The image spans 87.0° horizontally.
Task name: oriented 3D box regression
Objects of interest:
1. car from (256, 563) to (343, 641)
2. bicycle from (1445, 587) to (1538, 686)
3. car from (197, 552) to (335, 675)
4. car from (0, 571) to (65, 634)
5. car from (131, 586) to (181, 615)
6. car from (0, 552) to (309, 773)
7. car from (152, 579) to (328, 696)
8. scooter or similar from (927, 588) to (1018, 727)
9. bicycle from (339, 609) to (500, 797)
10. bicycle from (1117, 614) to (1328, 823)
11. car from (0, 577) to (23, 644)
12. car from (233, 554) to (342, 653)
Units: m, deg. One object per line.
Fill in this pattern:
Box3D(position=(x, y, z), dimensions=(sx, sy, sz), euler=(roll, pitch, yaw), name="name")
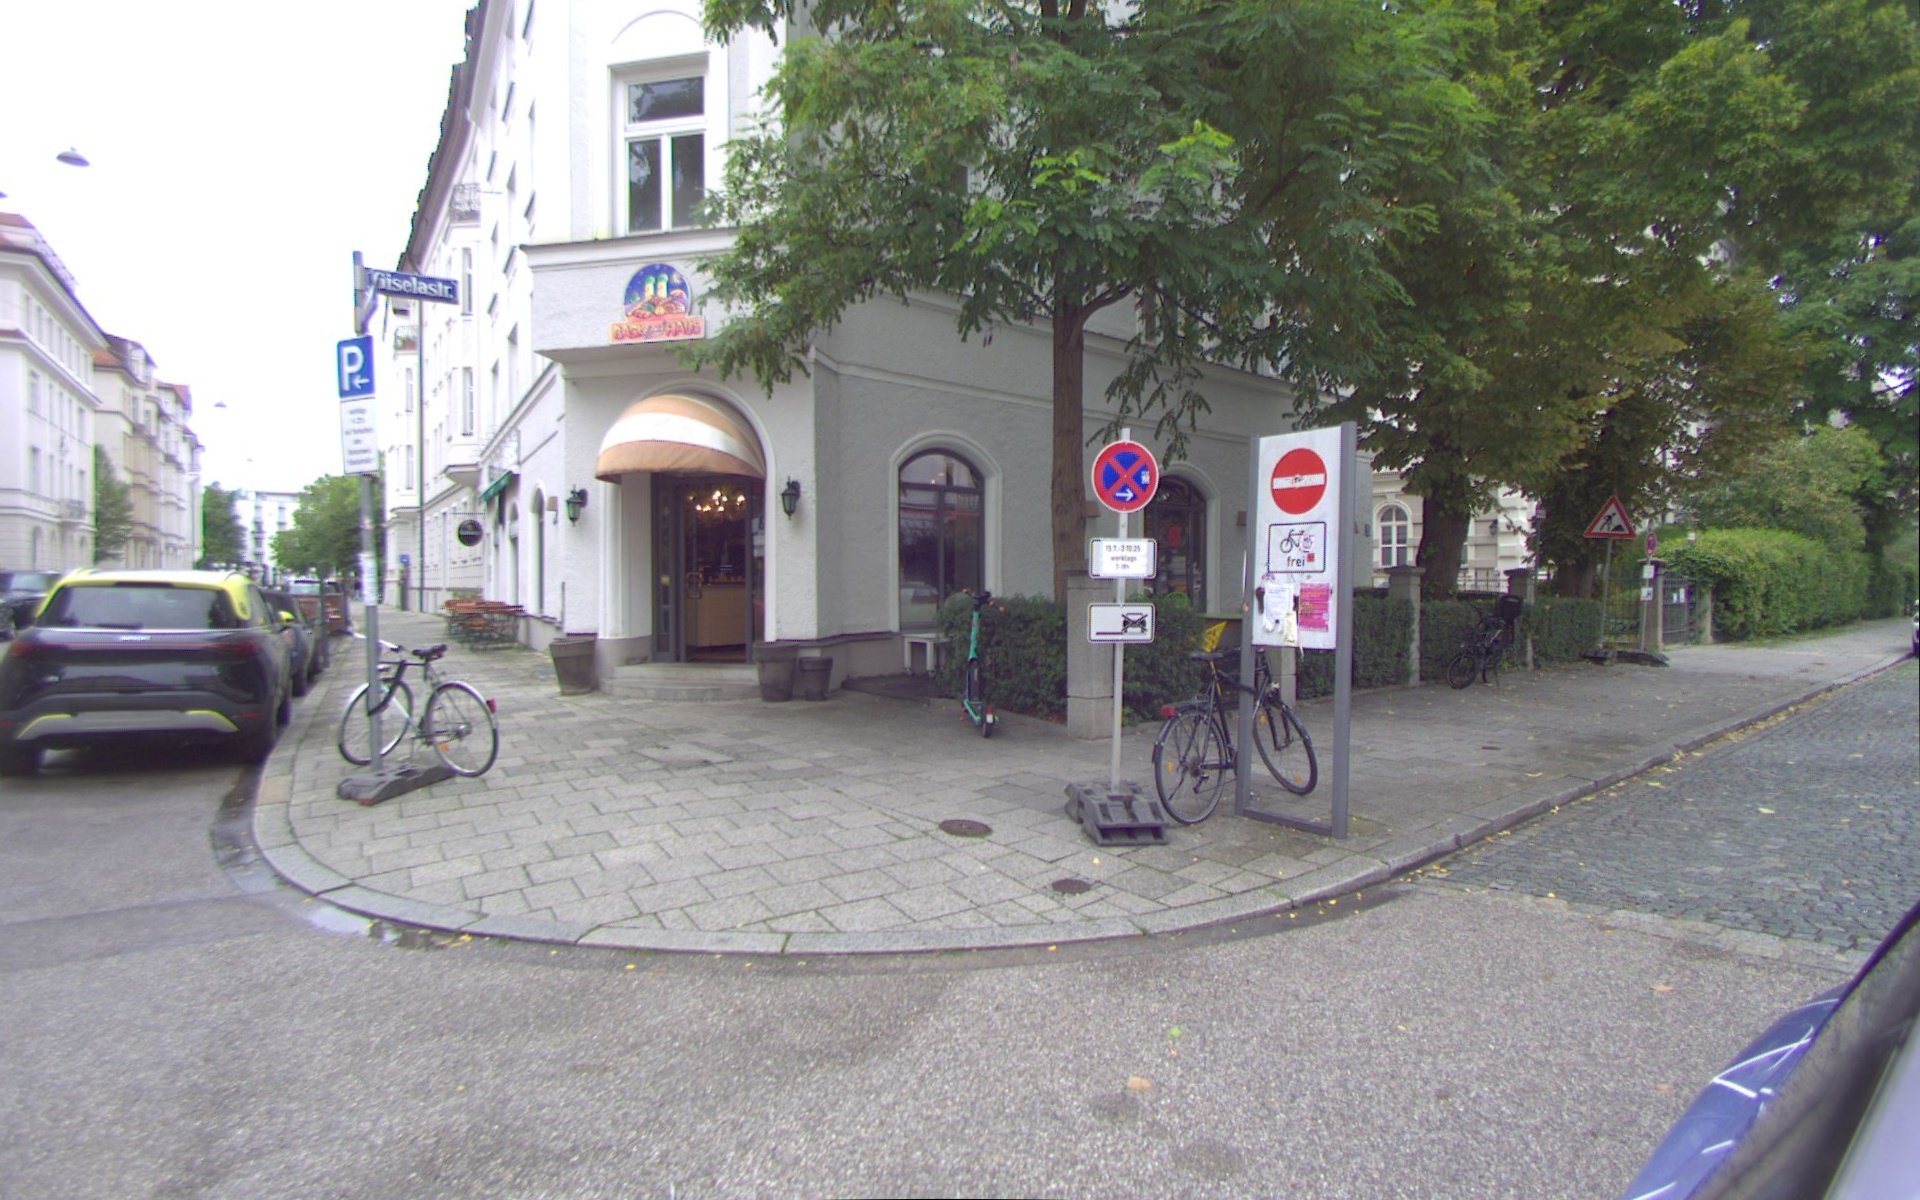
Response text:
Box3D(position=(-16.730, 0.004, 25.786), dimensions=(1.708, 1.835, 4.003), euler=(-1, 1, -31), name="car")
Box3D(position=(7.170, 0.461, 13.627), dimensions=(1.700, 1.212, 0.429), euler=(-1, 6, -41), name="bicycle")
Box3D(position=(-12.603, 0.183, 18.592), dimensions=(1.739, 1.994, 3.936), euler=(-1, 1, -30), name="car")
Box3D(position=(-27.328, 0.051, 29.003), dimensions=(1.796, 1.691, 4.061), euler=(-1, 1, -31), name="car")
Box3D(position=(-44.851, -0.028, 56.505), dimensions=(1.962, 1.528, 4.000), euler=(-1, 1, -35), name="car")
Box3D(position=(-7.359, 0.414, 9.586), dimensions=(1.868, 1.617, 4.091), euler=(-1, 1, -31), name="car")
Box3D(position=(-10.115, 0.431, 14.458), dimensions=(1.667, 1.443, 3.544), euler=(-1, 1, -29), name="car")
Box3D(position=(0.090, 0.512, 9.964), dimensions=(0.396, 1.186, 1.612), euler=(-1, 3, -18), name="scooter or similar")
Box3D(position=(-3.996, 0.677, 7.428), dimensions=(0.726, 1.081, 1.606), euler=(-5, 6, -38), name="bicycle")
Box3D(position=(1.712, 0.700, 6.499), dimensions=(1.559, 1.161, 0.389), euler=(-1, 1, -35), name="bicycle")
Box3D(position=(-24.661, 0.275, 24.666), dimensions=(1.852, 1.684, 4.296), euler=(-1, 1, -31), name="car")
Box3D(position=(-14.554, 0.035, 22.073), dimensions=(1.696, 1.959, 3.664), euler=(-1, 1, -30), name="car")
